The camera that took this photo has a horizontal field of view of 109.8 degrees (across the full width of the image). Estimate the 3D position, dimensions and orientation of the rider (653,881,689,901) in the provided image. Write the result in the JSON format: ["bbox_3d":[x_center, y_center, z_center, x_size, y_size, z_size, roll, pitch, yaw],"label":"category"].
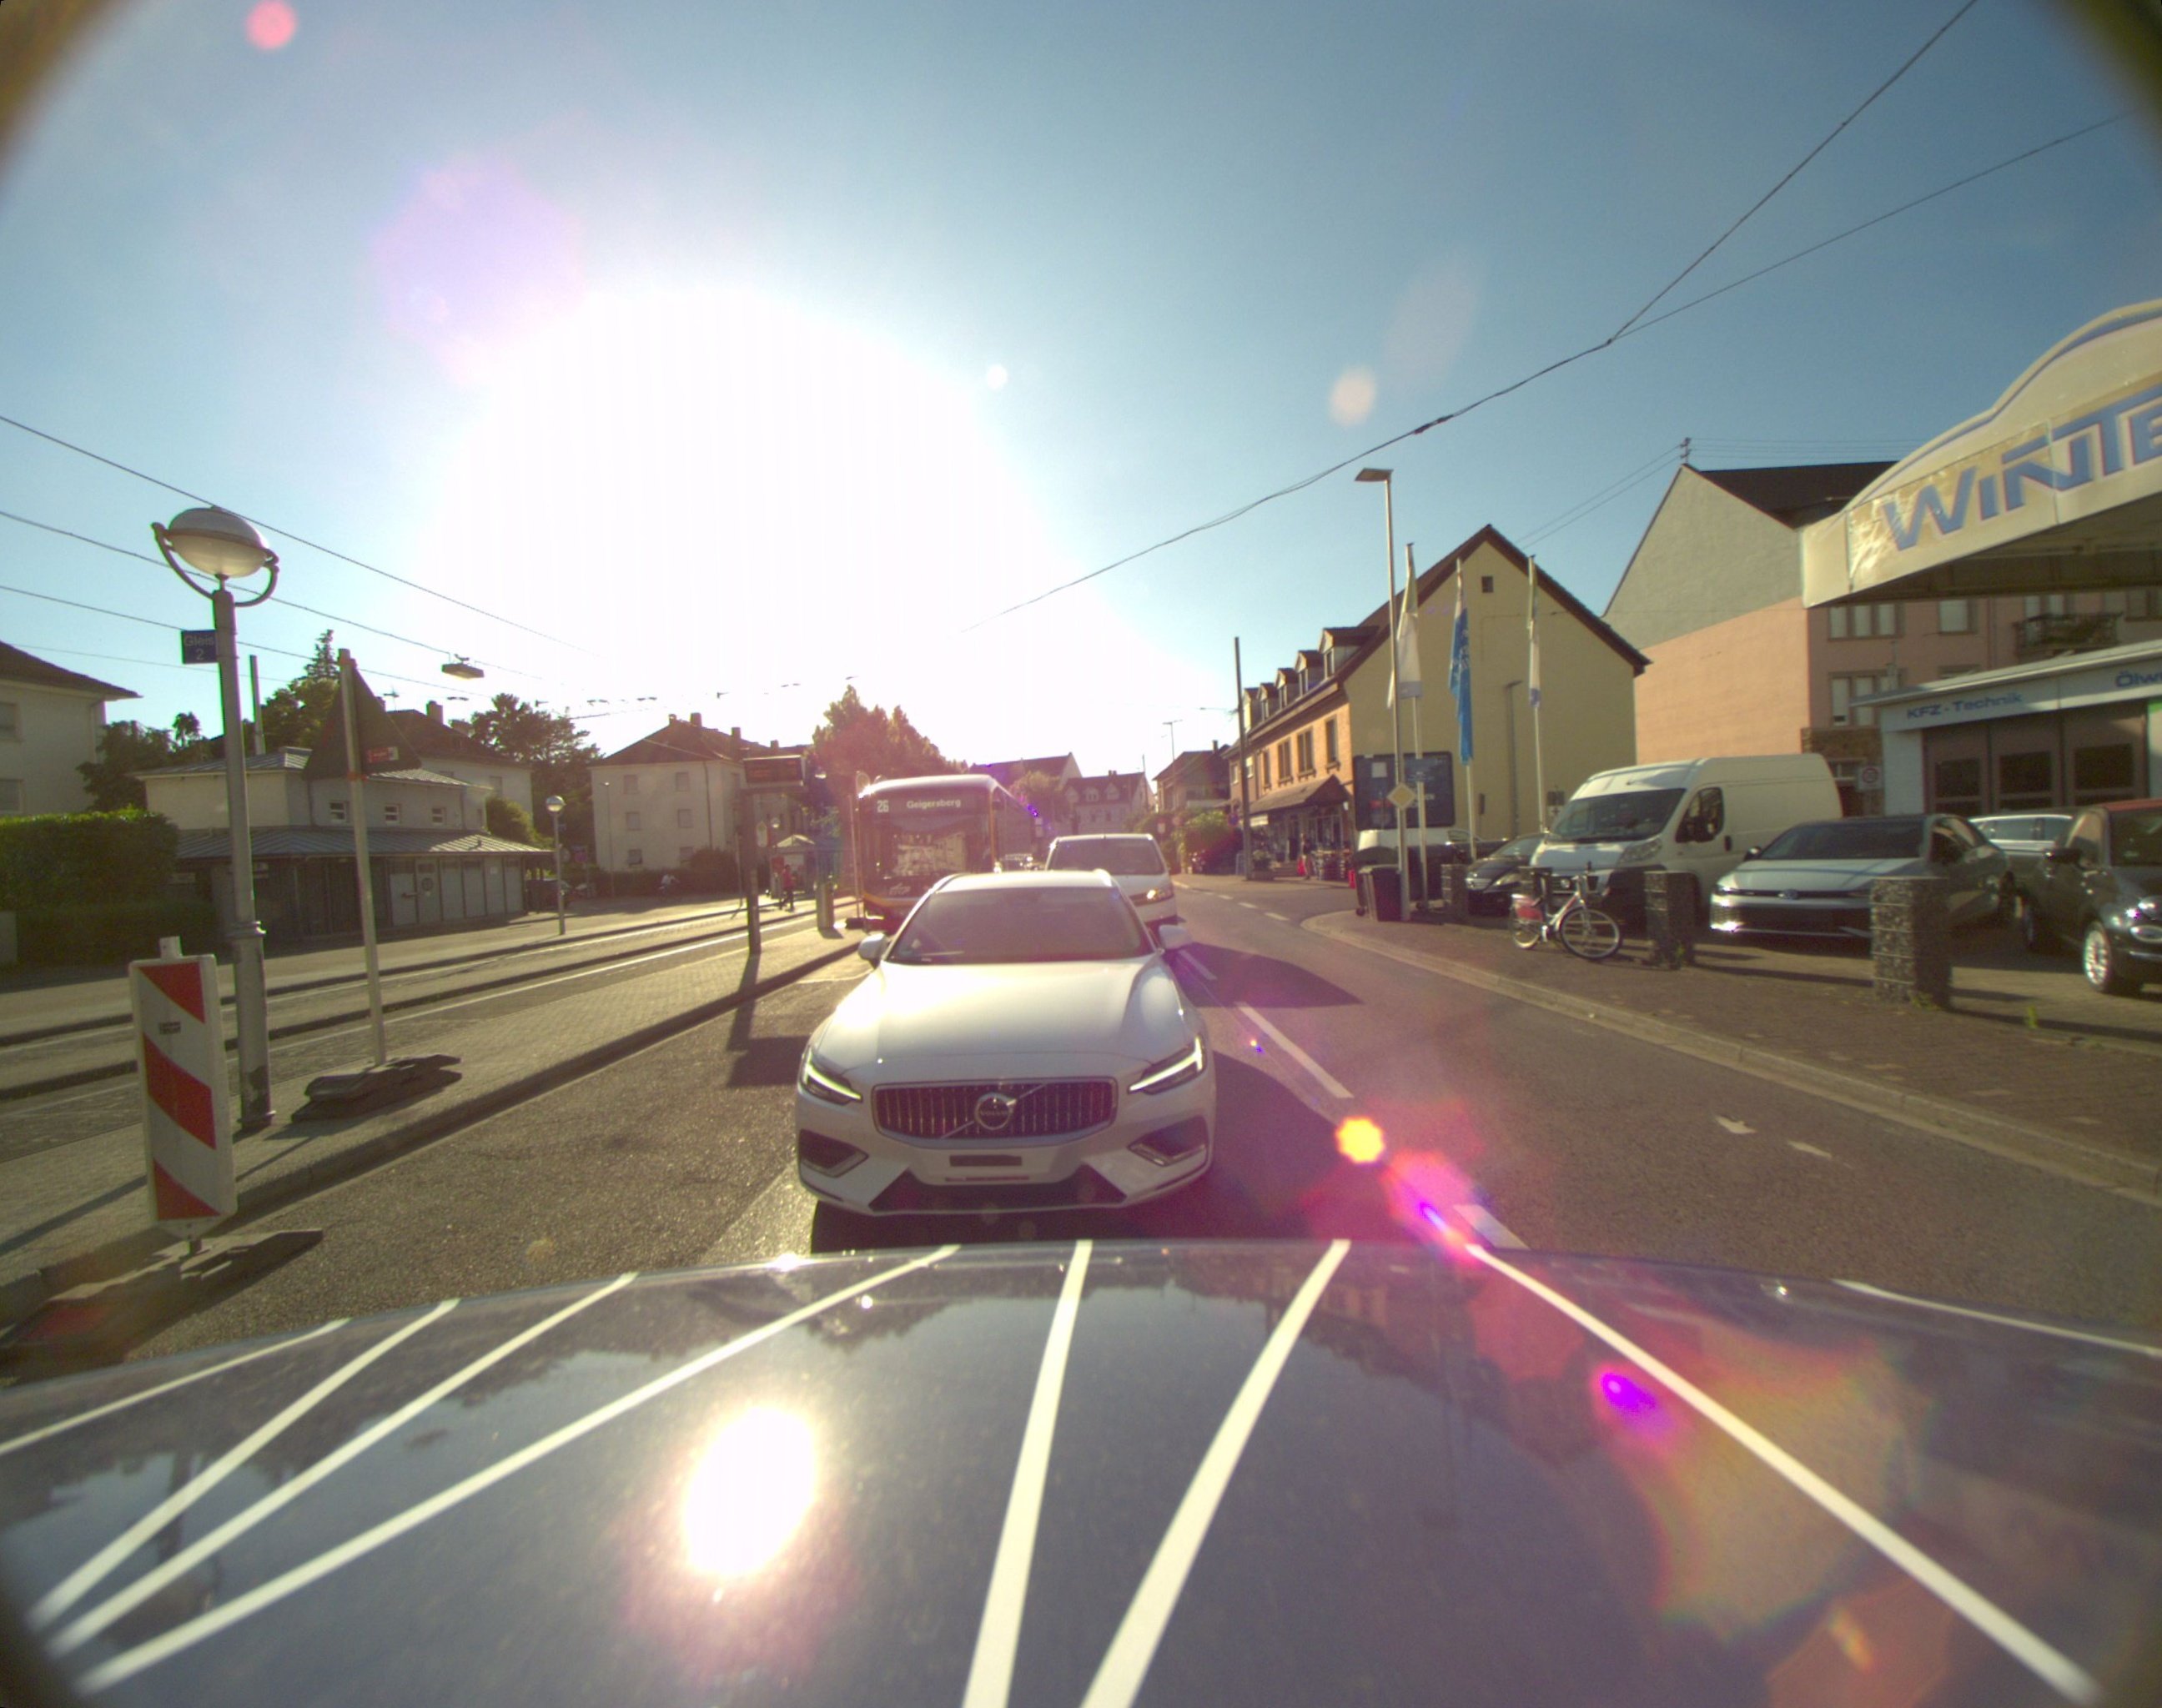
[{"bbox_3d":[-21.707,1.949,40.195,1.853,0.986,0.581,-2,1,23],"label":"rider"}]

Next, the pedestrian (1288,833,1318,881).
[{"bbox_3d":[8.857,0.113,30.322,0.824,1.842,0.766,-3,1,-20],"label":"pedestrian"}]

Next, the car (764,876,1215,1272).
[{"bbox_3d":[-0.351,0.981,5.265,1.821,1.446,4.217,-2,0,1],"label":"car"}]

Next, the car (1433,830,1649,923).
[{"bbox_3d":[8.969,0.373,14.756,4.036,1.469,1.739,-3,1,-28],"label":"car"}]

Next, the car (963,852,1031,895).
[{"bbox_3d":[-3.149,0.705,29.509,1.969,1.450,4.824,-2,0,1],"label":"car"}]

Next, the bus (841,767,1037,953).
[{"bbox_3d":[-2.917,0.094,19.842,2.748,3.284,12.030,-2,0,0],"label":"bus"}]

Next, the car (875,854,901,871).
[{"bbox_3d":[-23.259,1.017,91.781,1.998,1.853,3.999,-2,1,1],"label":"car"}]

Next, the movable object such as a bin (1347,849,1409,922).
[{"bbox_3d":[6.238,0.641,15.959,1.045,1.456,0.797,-2,1,32],"label":"movable object such as a bin"}]

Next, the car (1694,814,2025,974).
[{"bbox_3d":[9.492,0.359,9.220,4.036,1.488,1.739,-3,1,-28],"label":"car"}]

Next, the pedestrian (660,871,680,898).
[{"bbox_3d":[-21.714,1.608,40.178,0.657,1.373,0.581,-2,1,23],"label":"pedestrian"}]

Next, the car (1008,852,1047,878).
[{"bbox_3d":[-3.269,0.630,47.312,1.969,1.450,4.824,-2,0,1],"label":"car"}]

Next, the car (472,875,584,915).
[{"bbox_3d":[-27.686,2.047,38.147,4.052,1.663,2.000,-4,1,2],"label":"car"}]

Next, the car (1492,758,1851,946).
[{"bbox_3d":[9.145,-0.135,11.769,4.997,2.440,2.111,-3,1,-22],"label":"car"}]

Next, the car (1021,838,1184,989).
[{"bbox_3d":[0.305,0.733,12.018,1.969,1.816,5.033,-2,0,1],"label":"car"}]

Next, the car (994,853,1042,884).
[{"bbox_3d":[-3.227,0.705,39.898,1.969,1.450,4.824,-2,0,1],"label":"car"}]

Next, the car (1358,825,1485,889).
[{"bbox_3d":[11.567,0.097,25.931,3.672,2.002,1.451,-2,1,-3],"label":"car"}]

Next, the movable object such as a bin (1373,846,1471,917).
[{"bbox_3d":[7.595,0.578,16.922,1.798,1.456,1.046,-3,1,-25],"label":"movable object such as a bin"}]

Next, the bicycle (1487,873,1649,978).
[{"bbox_3d":[5.884,0.814,9.322,0.725,1.080,1.791,-3,1,-3],"label":"bicycle"}]

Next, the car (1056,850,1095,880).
[{"bbox_3d":[-0.250,0.566,41.517,1.969,1.450,4.824,-2,0,1],"label":"car"}]

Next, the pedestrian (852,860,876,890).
[{"bbox_3d":[-12.029,1.153,42.118,0.840,1.601,0.826,-2,1,29],"label":"pedestrian"}]

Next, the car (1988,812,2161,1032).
[{"bbox_3d":[9.078,0.411,6.173,1.590,1.488,3.442,-2,1,40],"label":"car"}]

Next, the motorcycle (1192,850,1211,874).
[{"bbox_3d":[6.355,0.417,40.128,0.708,1.210,2.186,-2,1,3],"label":"motorcycle"}]

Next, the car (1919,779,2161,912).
[{"bbox_3d":[16.483,-0.174,11.996,1.742,1.933,4.257,-3,1,-1],"label":"car"}]

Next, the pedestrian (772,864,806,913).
[{"bbox_3d":[-10.705,1.244,27.865,0.842,1.708,0.825,-2,1,-1],"label":"pedestrian"}]

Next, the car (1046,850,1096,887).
[{"bbox_3d":[-0.390,0.582,33.269,1.969,1.450,4.824,-2,0,1],"label":"car"}]
